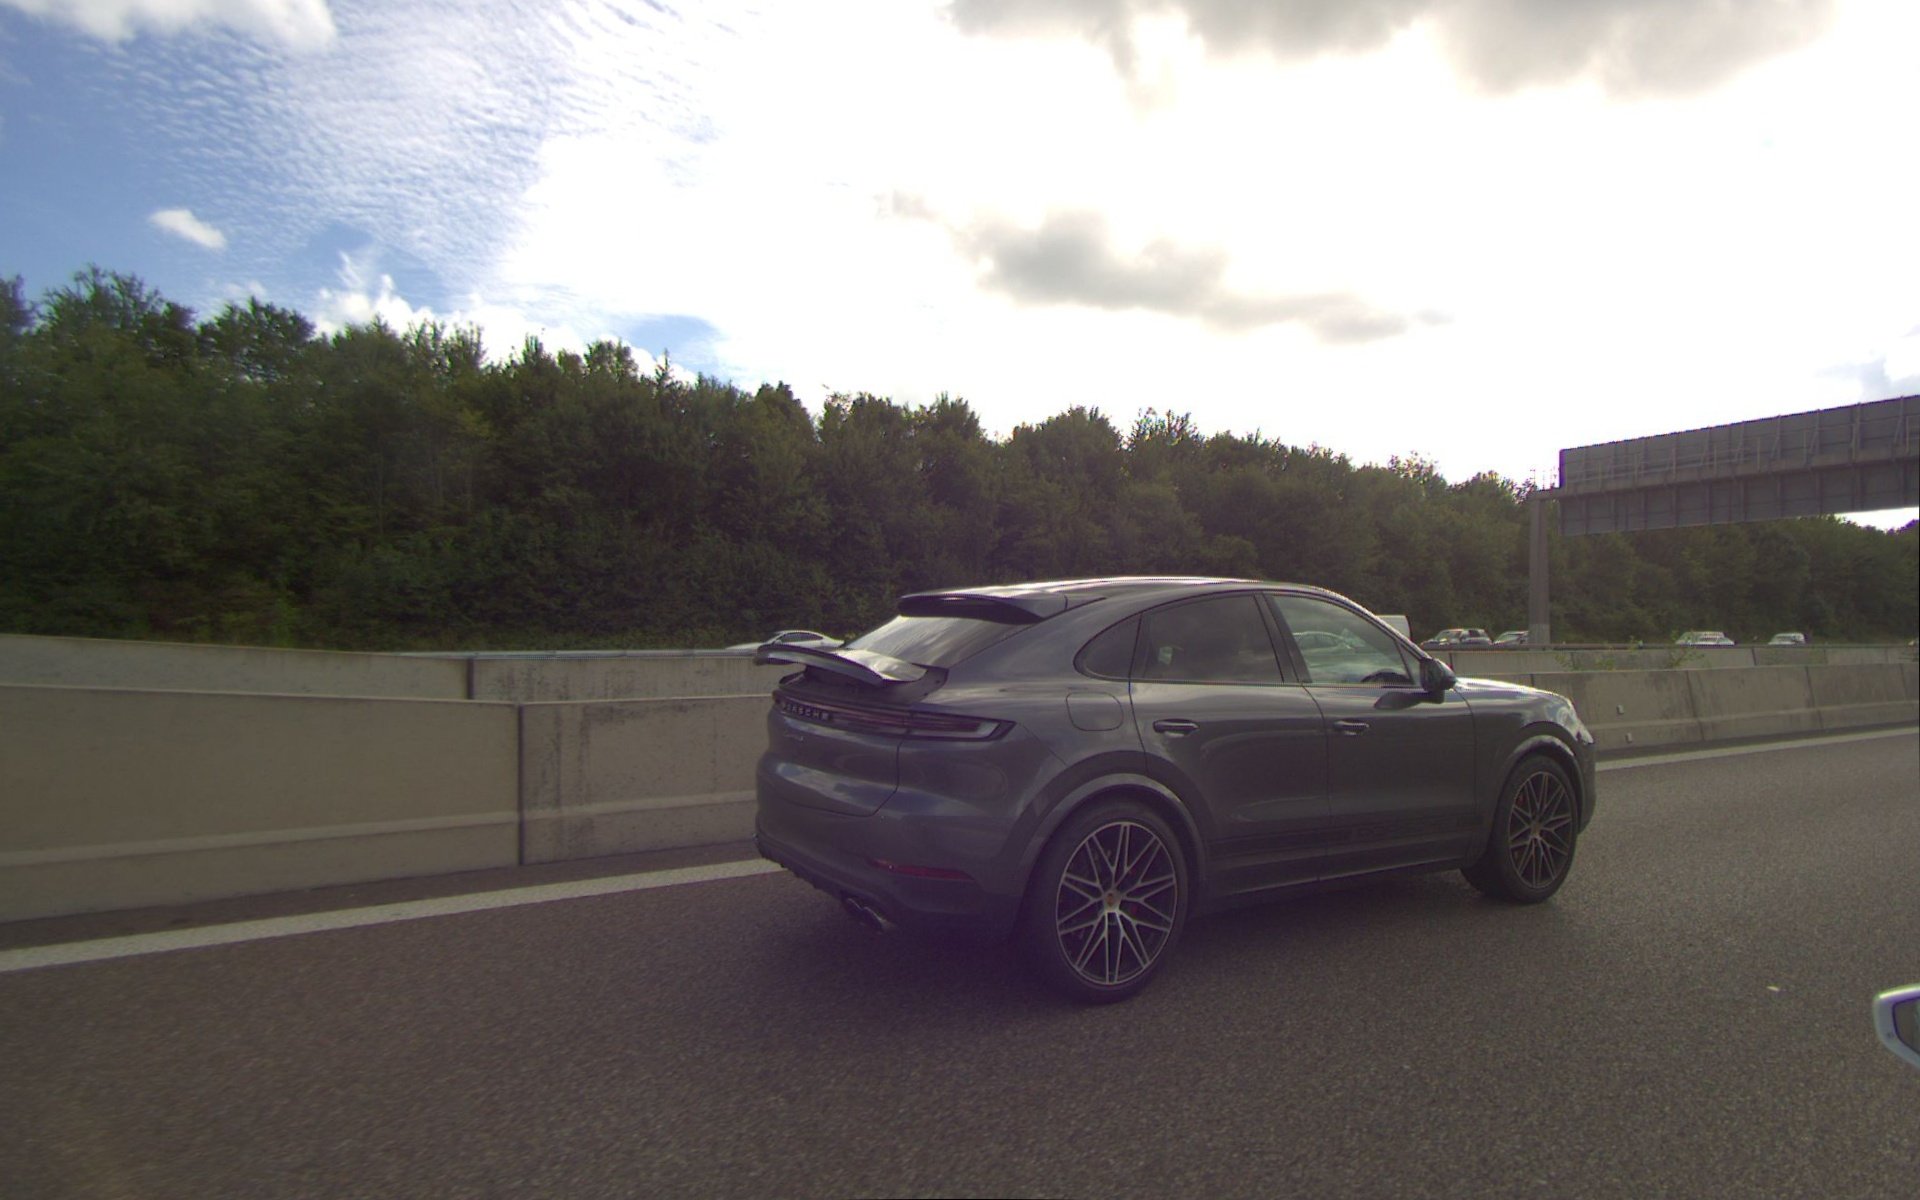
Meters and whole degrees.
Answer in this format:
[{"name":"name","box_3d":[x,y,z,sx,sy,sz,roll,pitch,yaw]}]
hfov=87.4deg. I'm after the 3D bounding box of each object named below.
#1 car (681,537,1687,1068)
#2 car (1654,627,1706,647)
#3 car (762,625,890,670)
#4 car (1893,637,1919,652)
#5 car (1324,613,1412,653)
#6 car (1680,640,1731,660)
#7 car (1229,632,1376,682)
[{"name":"car","box_3d":[1.485,0.694,5.361,5.436,1.658,1.903,1,-1,-31]},{"name":"car","box_3d":[59.195,3.040,82.549,4.891,1.655,1.726,1,-2,-31]},{"name":"car","box_3d":[-4.862,1.712,36.481,4.315,1.537,1.669,1,-2,-29]},{"name":"car","box_3d":[91.989,4.315,97.186,4.063,1.446,1.494,1,-2,-32]},{"name":"car","box_3d":[25.191,2.042,61.955,5.614,2.346,1.985,1,-2,-29]},{"name":"car","box_3d":[56.391,3.784,75.950,4.274,1.463,1.649,1,-2,-31]},{"name":"car","box_3d":[9.726,1.573,28.447,4.198,1.332,1.634,1,-2,-31]}]
